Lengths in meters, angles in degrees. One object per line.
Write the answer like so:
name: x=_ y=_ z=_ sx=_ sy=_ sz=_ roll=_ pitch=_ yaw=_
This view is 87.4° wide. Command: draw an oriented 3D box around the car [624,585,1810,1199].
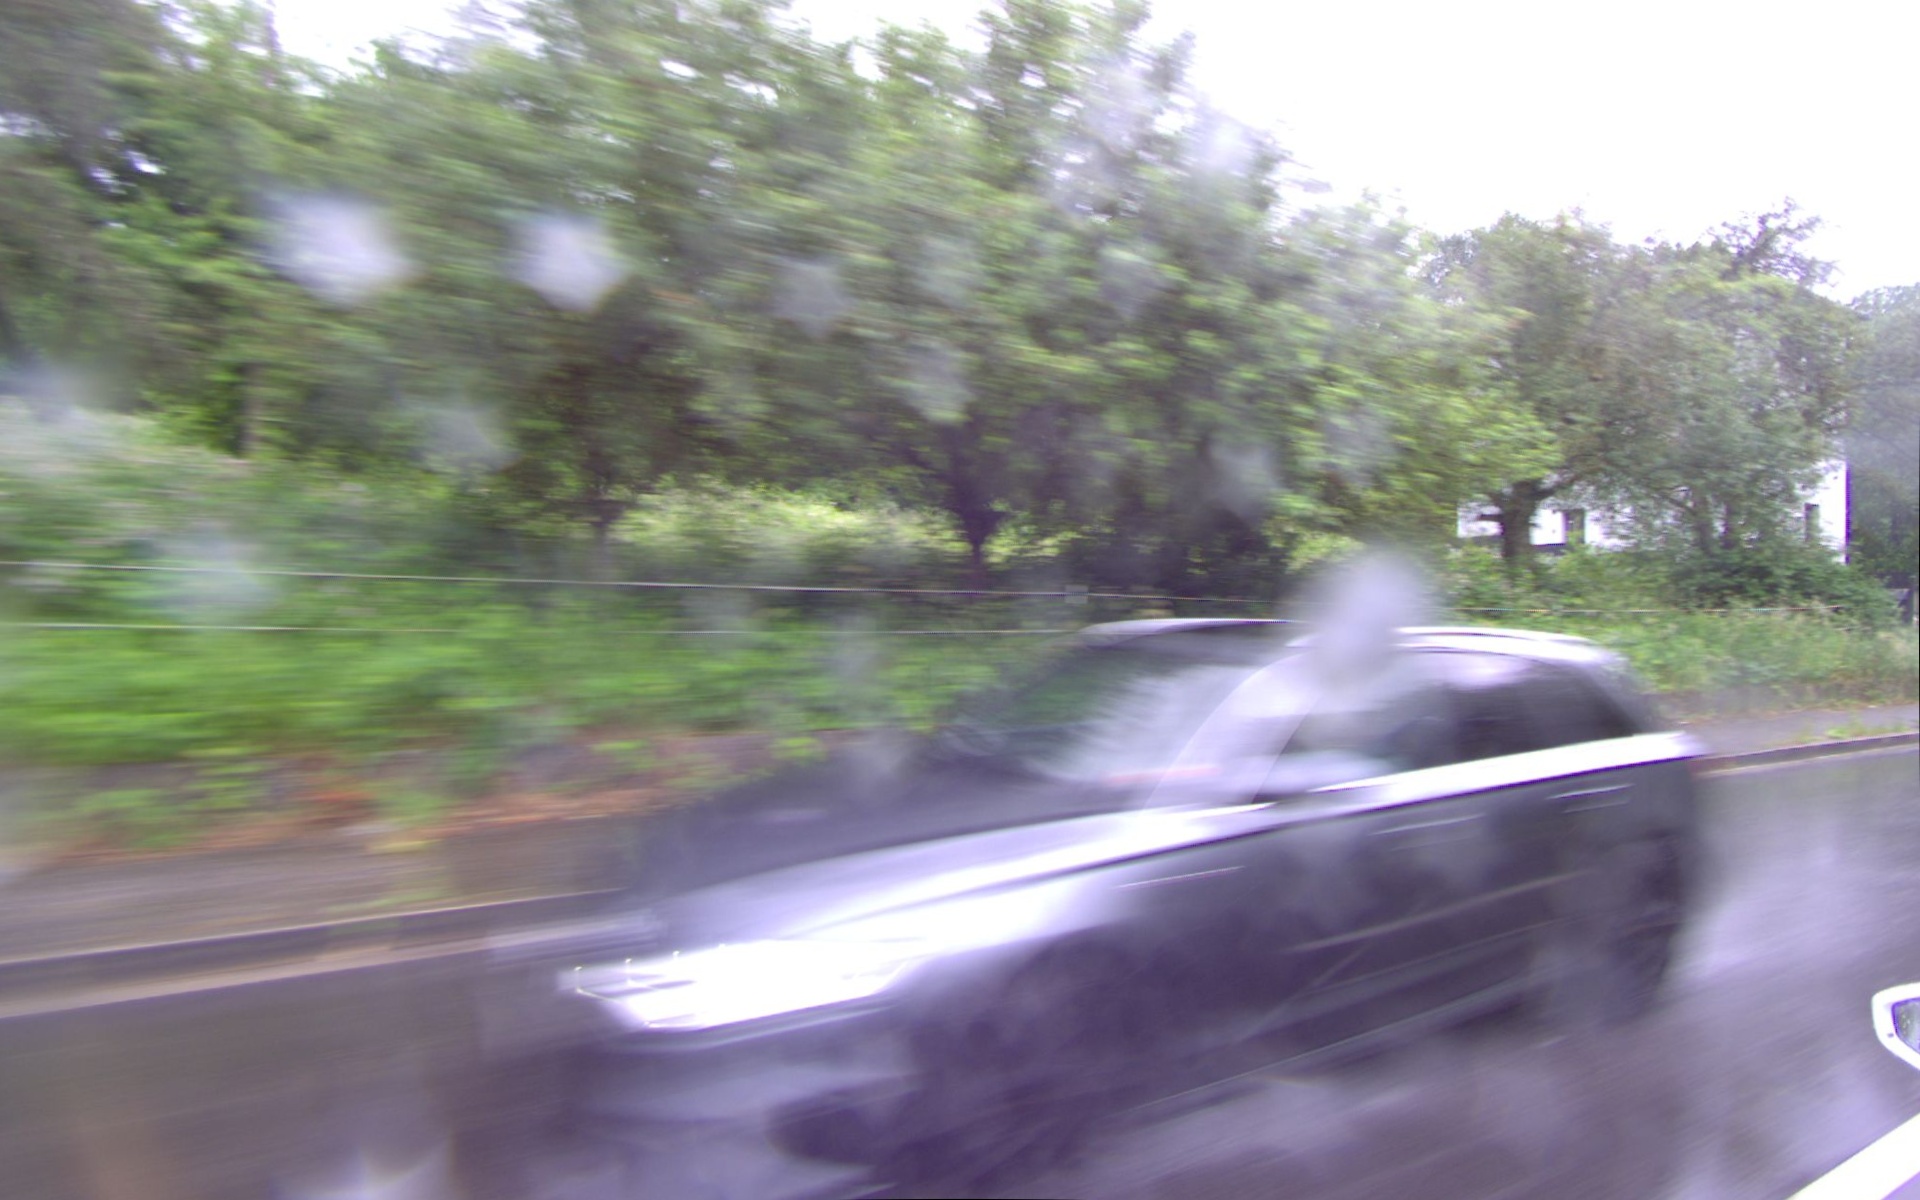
car: x=1.144 y=0.724 z=3.937 sx=4.375 sy=1.473 sz=1.984 roll=1 pitch=0 yaw=-30
